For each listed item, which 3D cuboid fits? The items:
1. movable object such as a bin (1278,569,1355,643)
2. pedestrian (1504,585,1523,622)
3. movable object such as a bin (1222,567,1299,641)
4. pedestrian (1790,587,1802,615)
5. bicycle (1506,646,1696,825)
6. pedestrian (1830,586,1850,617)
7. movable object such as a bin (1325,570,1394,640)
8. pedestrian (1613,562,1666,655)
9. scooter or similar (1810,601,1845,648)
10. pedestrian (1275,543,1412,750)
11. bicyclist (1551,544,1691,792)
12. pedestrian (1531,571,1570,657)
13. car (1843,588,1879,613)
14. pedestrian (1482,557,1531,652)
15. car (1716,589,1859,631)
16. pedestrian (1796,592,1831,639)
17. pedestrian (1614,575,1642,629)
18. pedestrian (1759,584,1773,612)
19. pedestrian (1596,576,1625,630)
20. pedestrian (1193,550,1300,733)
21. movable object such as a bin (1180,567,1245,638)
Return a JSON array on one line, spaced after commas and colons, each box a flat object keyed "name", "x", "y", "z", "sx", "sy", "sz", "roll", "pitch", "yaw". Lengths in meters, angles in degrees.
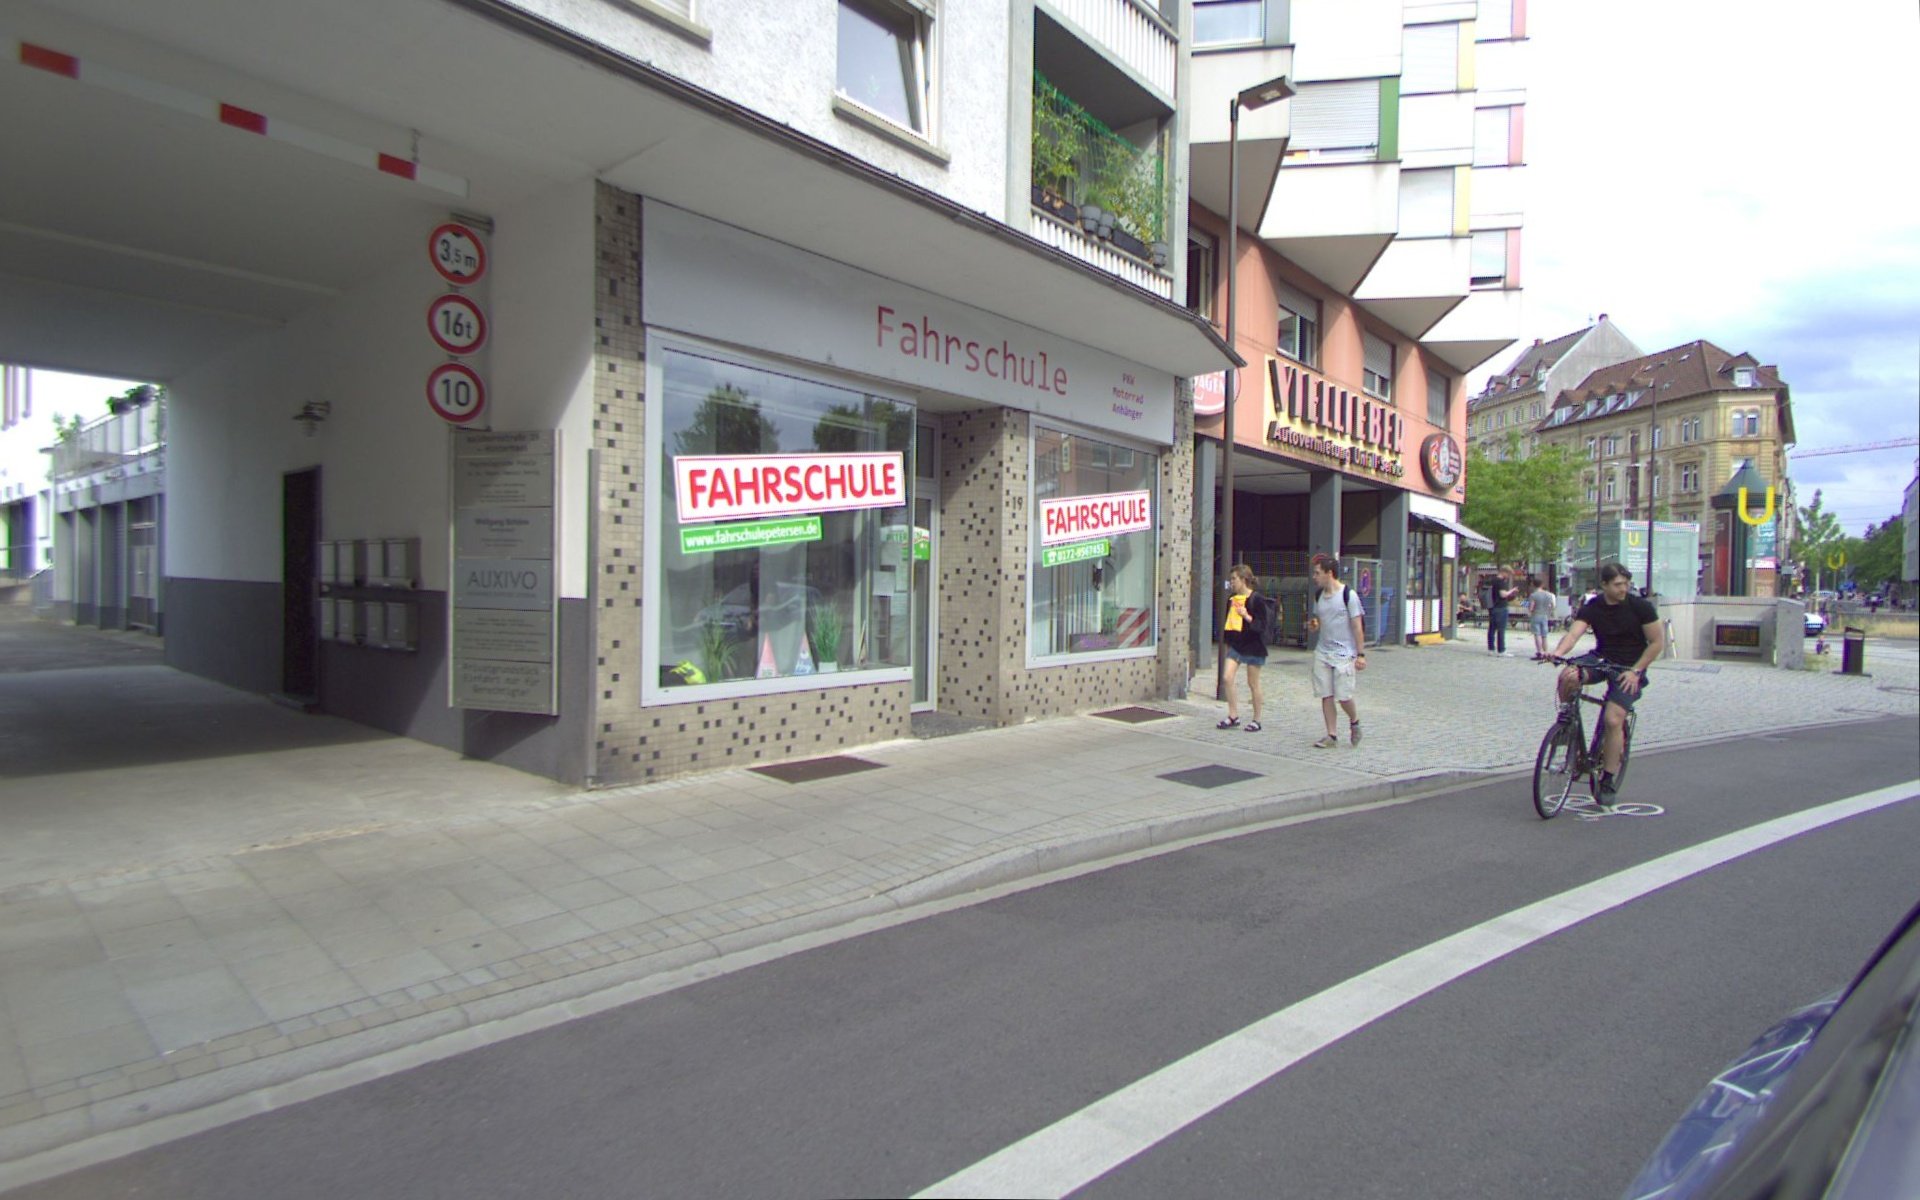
[{"name": "movable object such as a bin", "x": 7.419, "y": 0.103, "z": 21.036, "sx": 1.144, "sy": 1.478, "sz": 1.206, "roll": 2, "pitch": 1, "yaw": 40}, {"name": "pedestrian", "x": 25.263, "y": 0.152, "z": 46.191, "sx": 0.431, "sy": 1.661, "sz": 0.679, "roll": 1, "pitch": 1, "yaw": -4}, {"name": "movable object such as a bin", "x": 6.482, "y": 0.069, "z": 21.817, "sx": 1.192, "sy": 1.534, "sz": 1.180, "roll": 2, "pitch": 1, "yaw": 40}, {"name": "pedestrian", "x": 51.877, "y": 0.072, "z": 62.812, "sx": 0.421, "sy": 1.706, "sz": 0.510, "roll": 1, "pitch": 1, "yaw": 29}, {"name": "bicycle", "x": 4.749, "y": 0.934, "z": 7.442, "sx": 1.978, "sy": 1.136, "sz": 0.407, "roll": 1, "pitch": -1, "yaw": -34}, {"name": "pedestrian", "x": 50.305, "y": 0.075, "z": 57.847, "sx": 0.598, "sy": 1.706, "sz": 0.729, "roll": -2, "pitch": 0, "yaw": 20}, {"name": "movable object such as a bin", "x": 9.032, "y": 0.096, "z": 22.874, "sx": 1.142, "sy": 1.534, "sz": 1.073, "roll": 2, "pitch": 1, "yaw": 40}, {"name": "pedestrian", "x": 14.312, "y": 0.166, "z": 21.306, "sx": 0.657, "sy": 1.874, "sz": 0.956, "roll": 5, "pitch": 4, "yaw": 44}, {"name": "scooter or similar", "x": 22.763, "y": 0.632, "z": 26.565, "sx": 1.103, "sy": 1.227, "sz": 0.287, "roll": 0, "pitch": 1, "yaw": -27}, {"name": "pedestrian", "x": 3.542, "y": 0.402, "z": 9.350, "sx": 0.844, "sy": 1.771, "sz": 0.752, "roll": 3, "pitch": 2, "yaw": -42}, {"name": "bicyclist", "x": 4.927, "y": 0.470, "z": 7.541, "sx": 0.846, "sy": 1.731, "sz": 0.560, "roll": 0, "pitch": 1, "yaw": -34}, {"name": "pedestrian", "x": 11.956, "y": 0.270, "z": 20.493, "sx": 0.472, "sy": 1.693, "sz": 0.581, "roll": 5, "pitch": 3, "yaw": 42}, {"name": "car", "x": 63.235, "y": 0.013, "z": 71.059, "sx": 1.688, "sy": 1.606, "sz": 3.608, "roll": 2, "pitch": 2, "yaw": 39}, {"name": "pedestrian", "x": 11.454, "y": 0.080, "z": 21.201, "sx": 0.672, "sy": 1.926, "sz": 0.581, "roll": 5, "pitch": 3, "yaw": 42}, {"name": "car", "x": 34.105, "y": 0.377, "z": 41.920, "sx": 1.961, "sy": 1.530, "sz": 4.607, "roll": -1, "pitch": 2, "yaw": -3}, {"name": "pedestrian", "x": 28.602, "y": 0.515, "z": 33.932, "sx": 0.829, "sy": 1.519, "sz": 0.554, "roll": -1, "pitch": 1, "yaw": -20}, {"name": "pedestrian", "x": 23.760, "y": 0.056, "z": 36.013, "sx": 0.572, "sy": 1.890, "sz": 0.491, "roll": 2, "pitch": 1, "yaw": -9}, {"name": "pedestrian", "x": 50.120, "y": -0.126, "z": 62.908, "sx": 0.505, "sy": 1.706, "sz": 0.425, "roll": 1, "pitch": 1, "yaw": -3}, {"name": "pedestrian", "x": 23.059, "y": 0.107, "z": 35.871, "sx": 0.572, "sy": 1.890, "sz": 0.549, "roll": 2, "pitch": 1, "yaw": -9}, {"name": "pedestrian", "x": 2.848, "y": 0.375, "z": 10.034, "sx": 0.604, "sy": 1.688, "sz": 0.930, "roll": 5, "pitch": 4, "yaw": 39}, {"name": "movable object such as a bin", "x": 5.628, "y": 0.035, "z": 22.540, "sx": 1.001, "sy": 1.534, "sz": 1.151, "roll": 2, "pitch": 1, "yaw": 40}]
